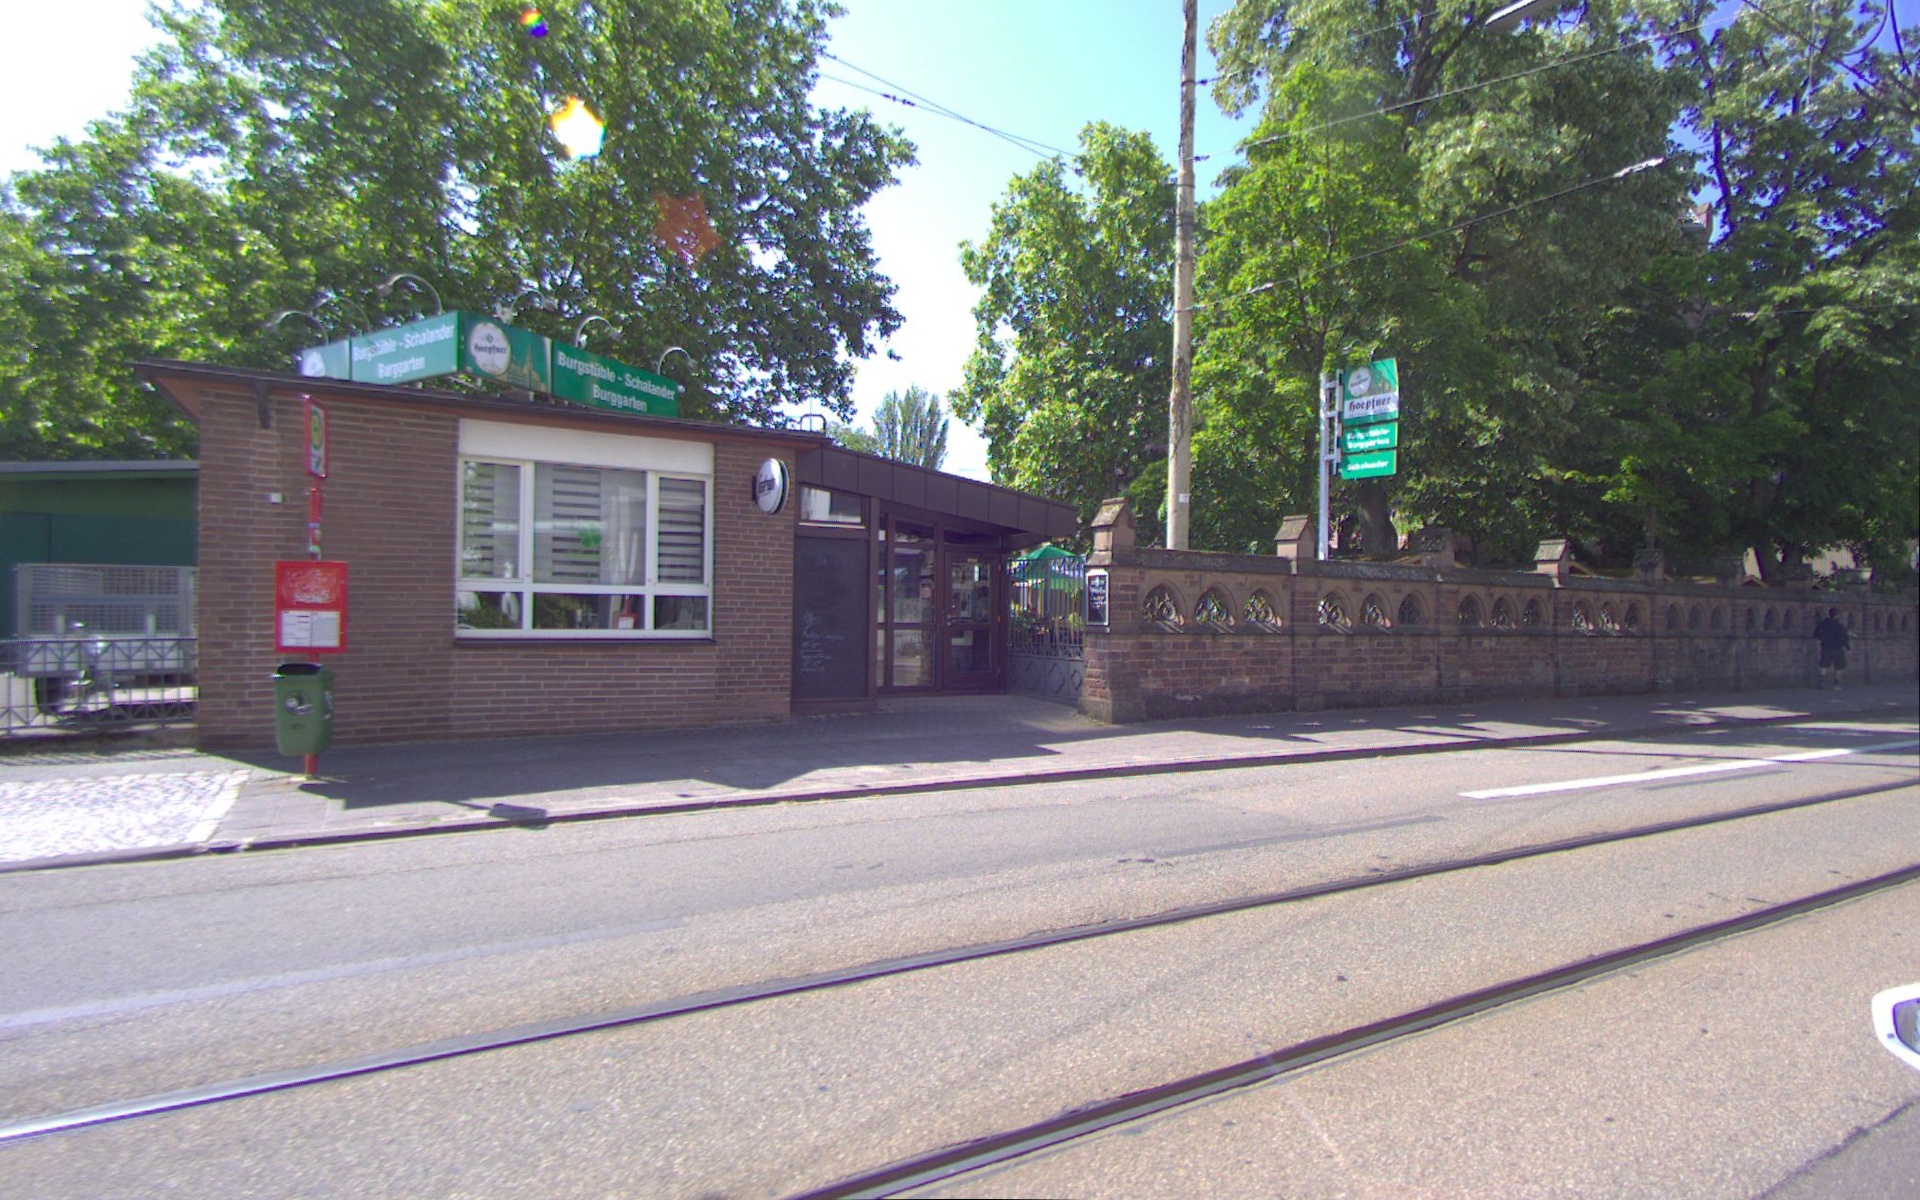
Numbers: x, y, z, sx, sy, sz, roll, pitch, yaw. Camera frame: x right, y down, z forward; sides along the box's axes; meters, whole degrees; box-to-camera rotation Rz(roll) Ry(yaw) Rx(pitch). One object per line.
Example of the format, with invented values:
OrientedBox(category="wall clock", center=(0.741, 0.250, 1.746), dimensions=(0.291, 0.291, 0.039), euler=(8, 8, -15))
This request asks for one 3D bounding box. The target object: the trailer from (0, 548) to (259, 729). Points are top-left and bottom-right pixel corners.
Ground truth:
OrientedBox(category="trailer", center=(-8.833, 0.361, 10.815), dimensions=(1.702, 1.624, 3.260), euler=(1, -1, -28))

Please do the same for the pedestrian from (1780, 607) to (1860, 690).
OrientedBox(category="pedestrian", center=(20.137, 1.113, 23.529), dimensions=(1.171, 1.840, 0.972), euler=(1, 3, -30))
